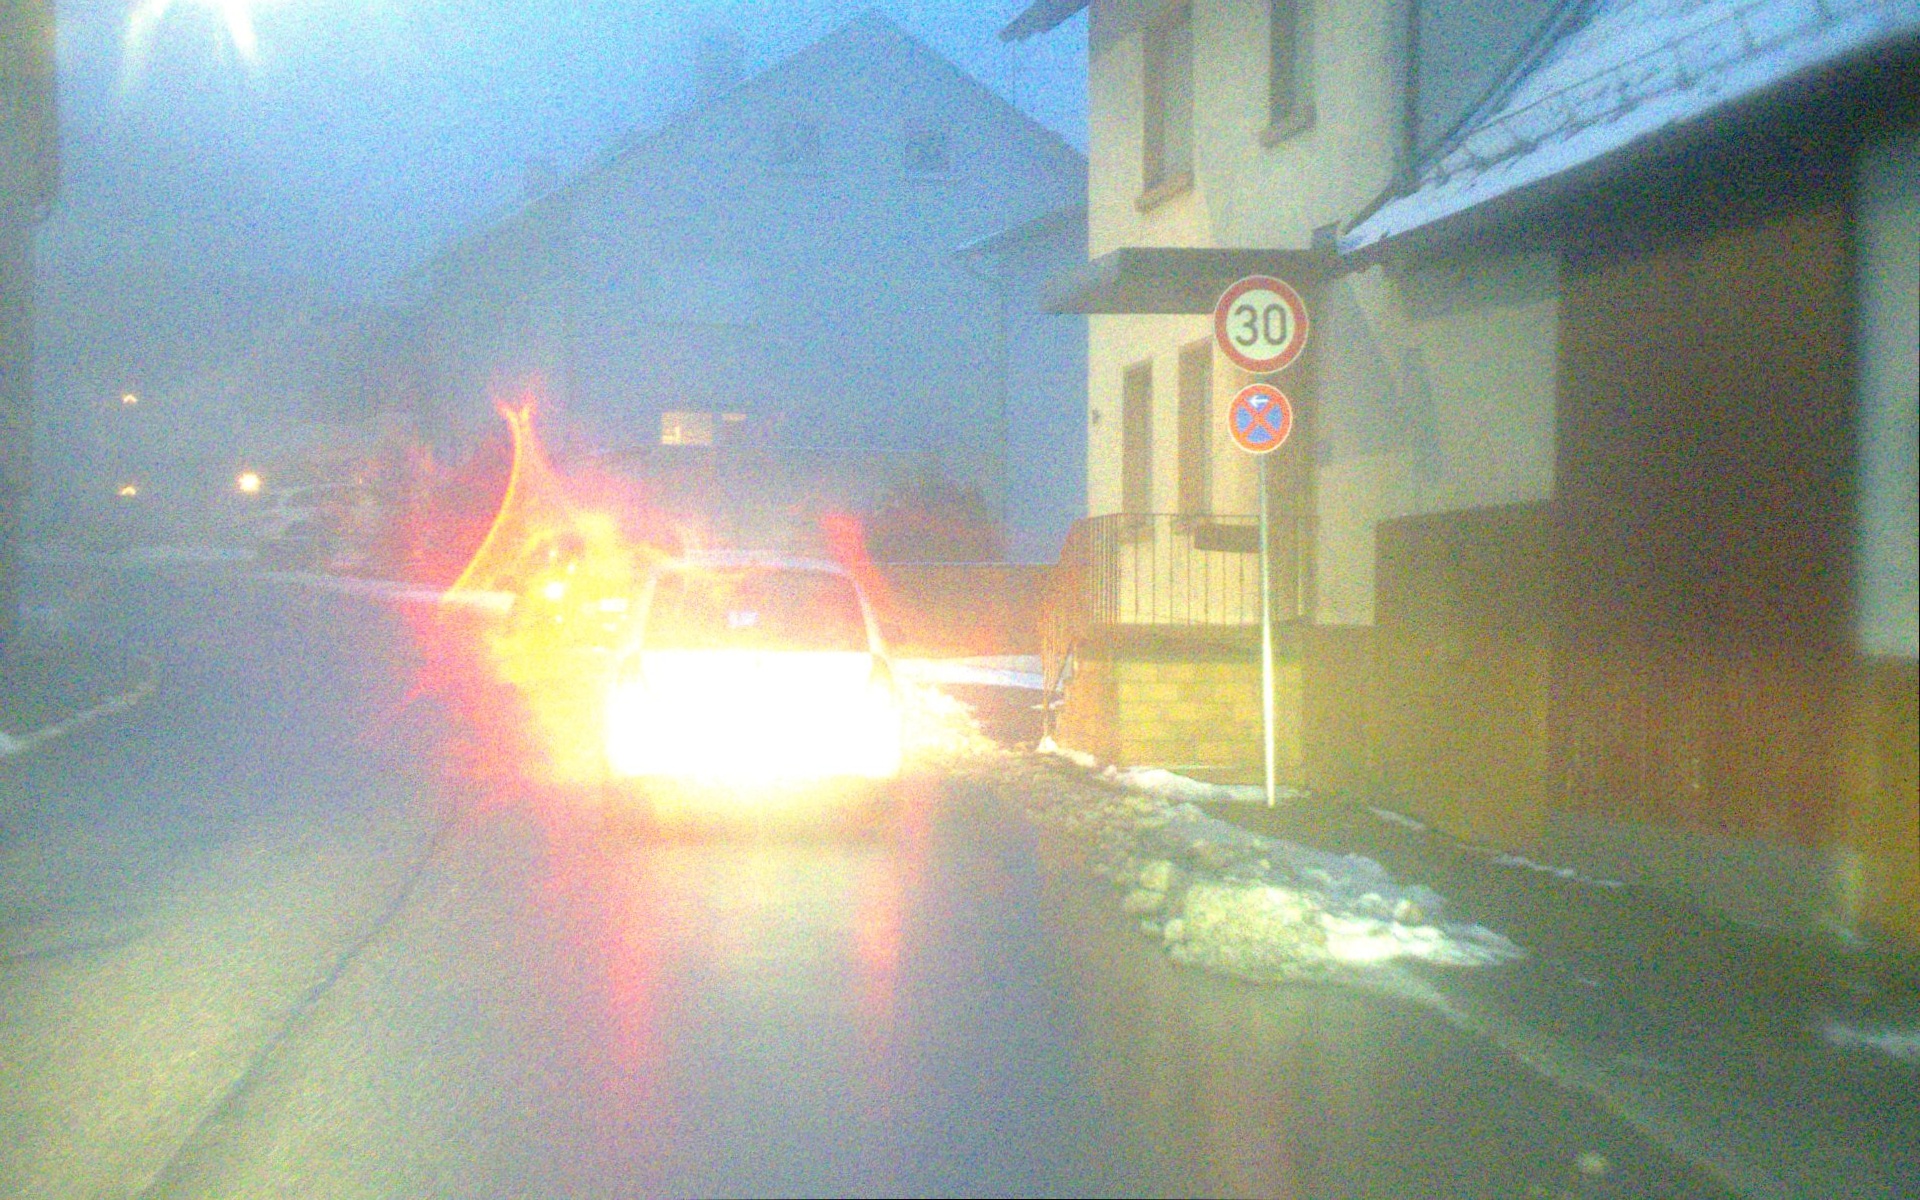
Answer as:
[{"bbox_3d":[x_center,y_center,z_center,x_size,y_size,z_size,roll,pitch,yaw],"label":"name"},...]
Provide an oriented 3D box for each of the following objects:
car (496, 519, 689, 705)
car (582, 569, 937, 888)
[{"bbox_3d":[-3.477,0.121,32.261,1.645,1.590,3.700,2,-1,-7],"label":"car"},{"bbox_3d":[-1.225,0.675,19.519,1.645,1.590,3.700,2,-1,-8],"label":"car"}]
